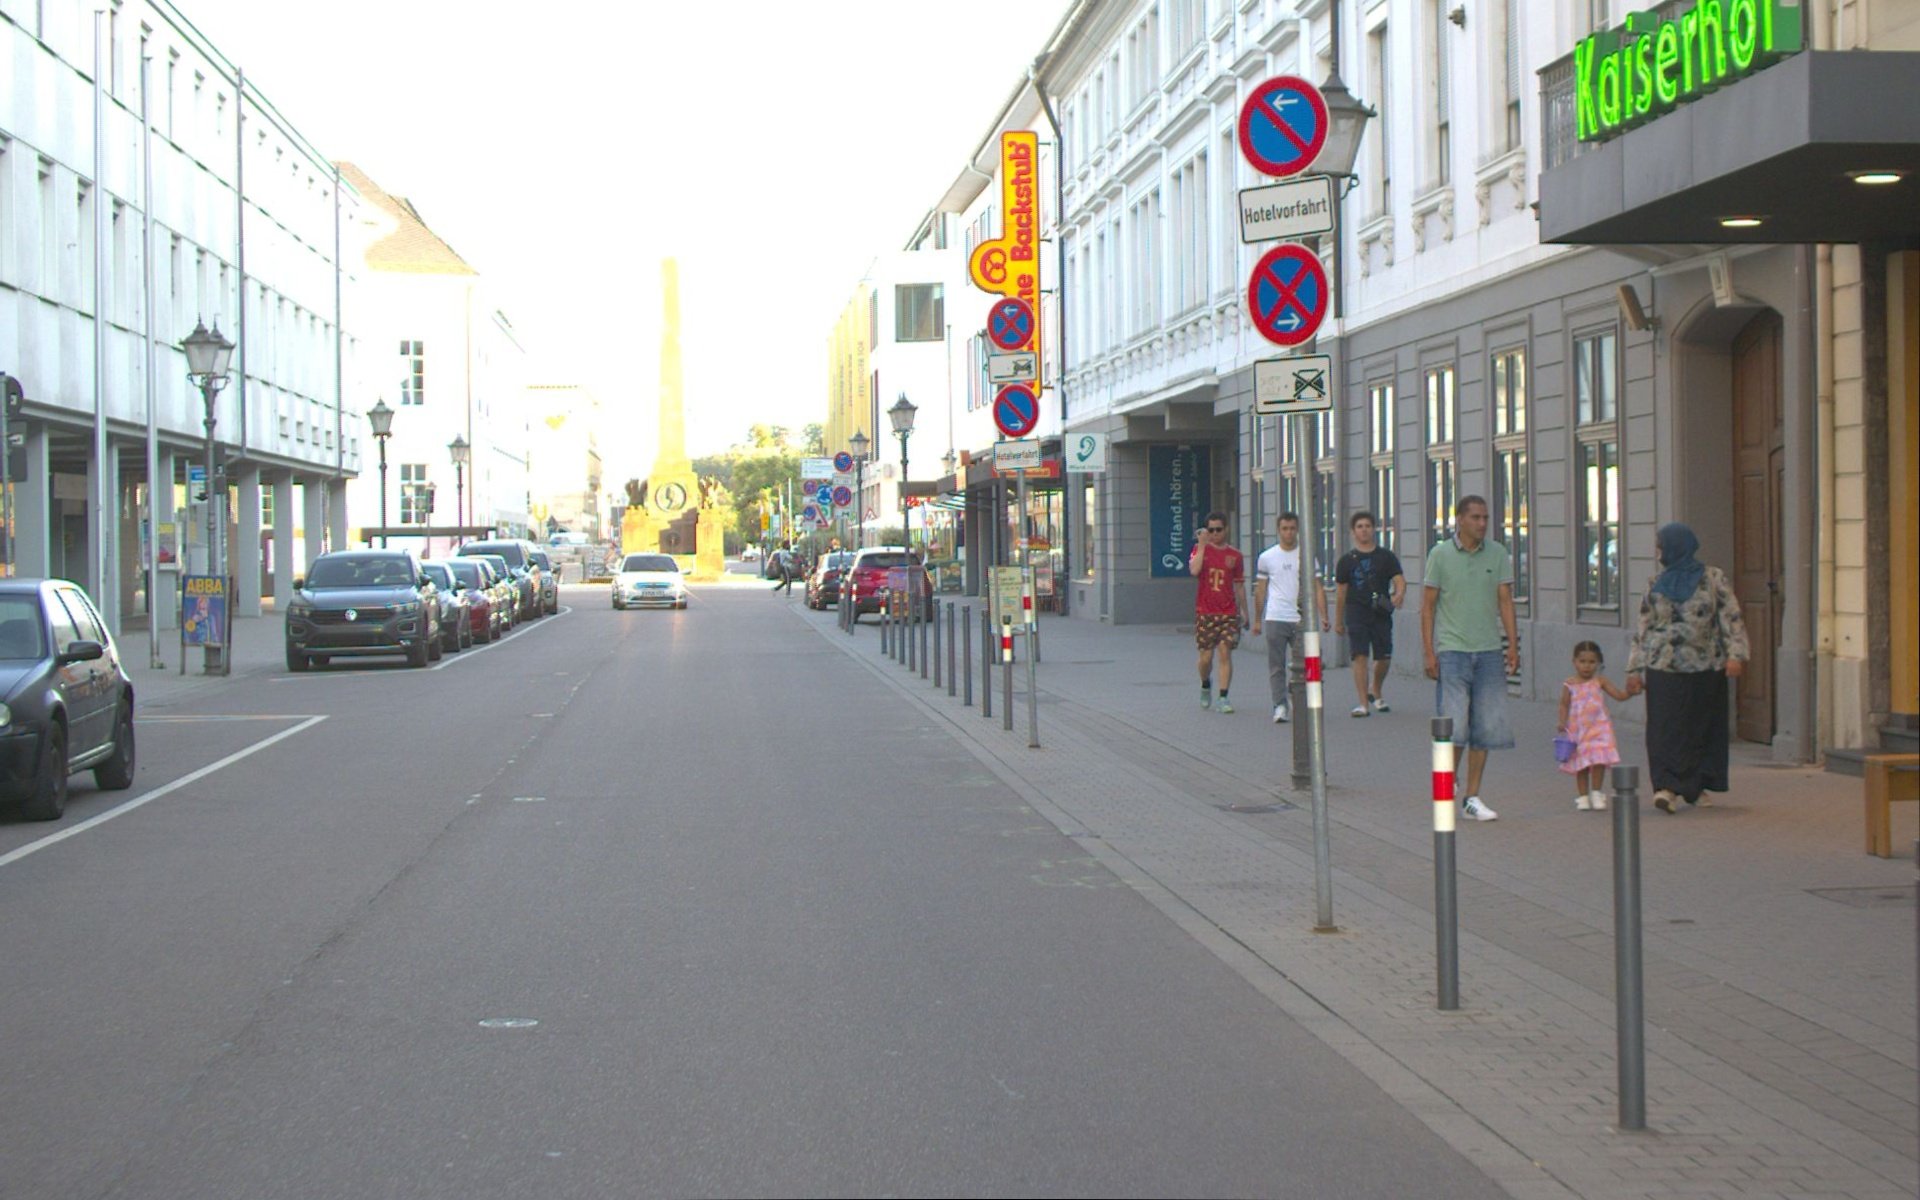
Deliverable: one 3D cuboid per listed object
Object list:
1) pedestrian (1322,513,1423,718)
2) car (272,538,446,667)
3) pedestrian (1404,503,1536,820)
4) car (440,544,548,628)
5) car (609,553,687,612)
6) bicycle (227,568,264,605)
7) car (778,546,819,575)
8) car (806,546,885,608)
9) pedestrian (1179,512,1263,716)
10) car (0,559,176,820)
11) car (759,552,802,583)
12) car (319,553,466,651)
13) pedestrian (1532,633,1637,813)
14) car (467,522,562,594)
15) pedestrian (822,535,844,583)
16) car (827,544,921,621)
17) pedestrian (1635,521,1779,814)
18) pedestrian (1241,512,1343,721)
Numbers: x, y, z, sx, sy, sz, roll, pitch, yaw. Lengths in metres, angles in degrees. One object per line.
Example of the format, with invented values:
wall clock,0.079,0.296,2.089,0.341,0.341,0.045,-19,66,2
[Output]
pedestrian,3.530,0.122,29.451,0.713,1.724,0.873,-1,1,-2
car,-7.973,-0.004,45.912,1.785,1.609,4.166,-1,1,-3
pedestrian,2.819,0.332,19.041,0.607,1.724,0.558,-1,1,-3
car,-10.208,-0.338,75.576,1.993,1.722,4.516,-2,1,-4
car,-7.833,-0.464,86.540,1.785,1.404,4.089,-1,1,-3
bicycle,-19.434,-0.387,93.567,0.733,0.980,2.336,0,1,-5
car,-8.185,-2.013,174.128,1.993,1.459,4.001,-1,1,-3
car,-2.821,-0.585,84.147,1.801,1.459,4.118,-1,1,-4
pedestrian,2.327,0.115,30.753,0.620,1.783,0.913,-1,1,-3
car,-6.334,0.509,21.791,1.993,1.489,4.165,-1,1,-4
car,-8.634,-1.582,165.616,1.993,1.459,4.001,-1,1,-3
car,-8.700,0.002,53.018,1.785,1.404,4.089,-1,1,-3
pedestrian,3.507,0.686,19.330,0.459,0.976,0.558,-1,1,-3
car,-10.617,-1.007,82.118,1.993,1.656,4.001,-1,1,-4
pedestrian,-4.309,-1.397,116.918,0.690,1.642,0.696,-1,1,-5
car,-1.785,-0.381,70.334,1.759,1.518,3.678,-1,1,-4
pedestrian,4.152,0.366,19.141,0.629,1.595,0.615,-1,1,-3
pedestrian,2.793,0.130,28.981,0.748,1.724,0.881,-1,1,-1
